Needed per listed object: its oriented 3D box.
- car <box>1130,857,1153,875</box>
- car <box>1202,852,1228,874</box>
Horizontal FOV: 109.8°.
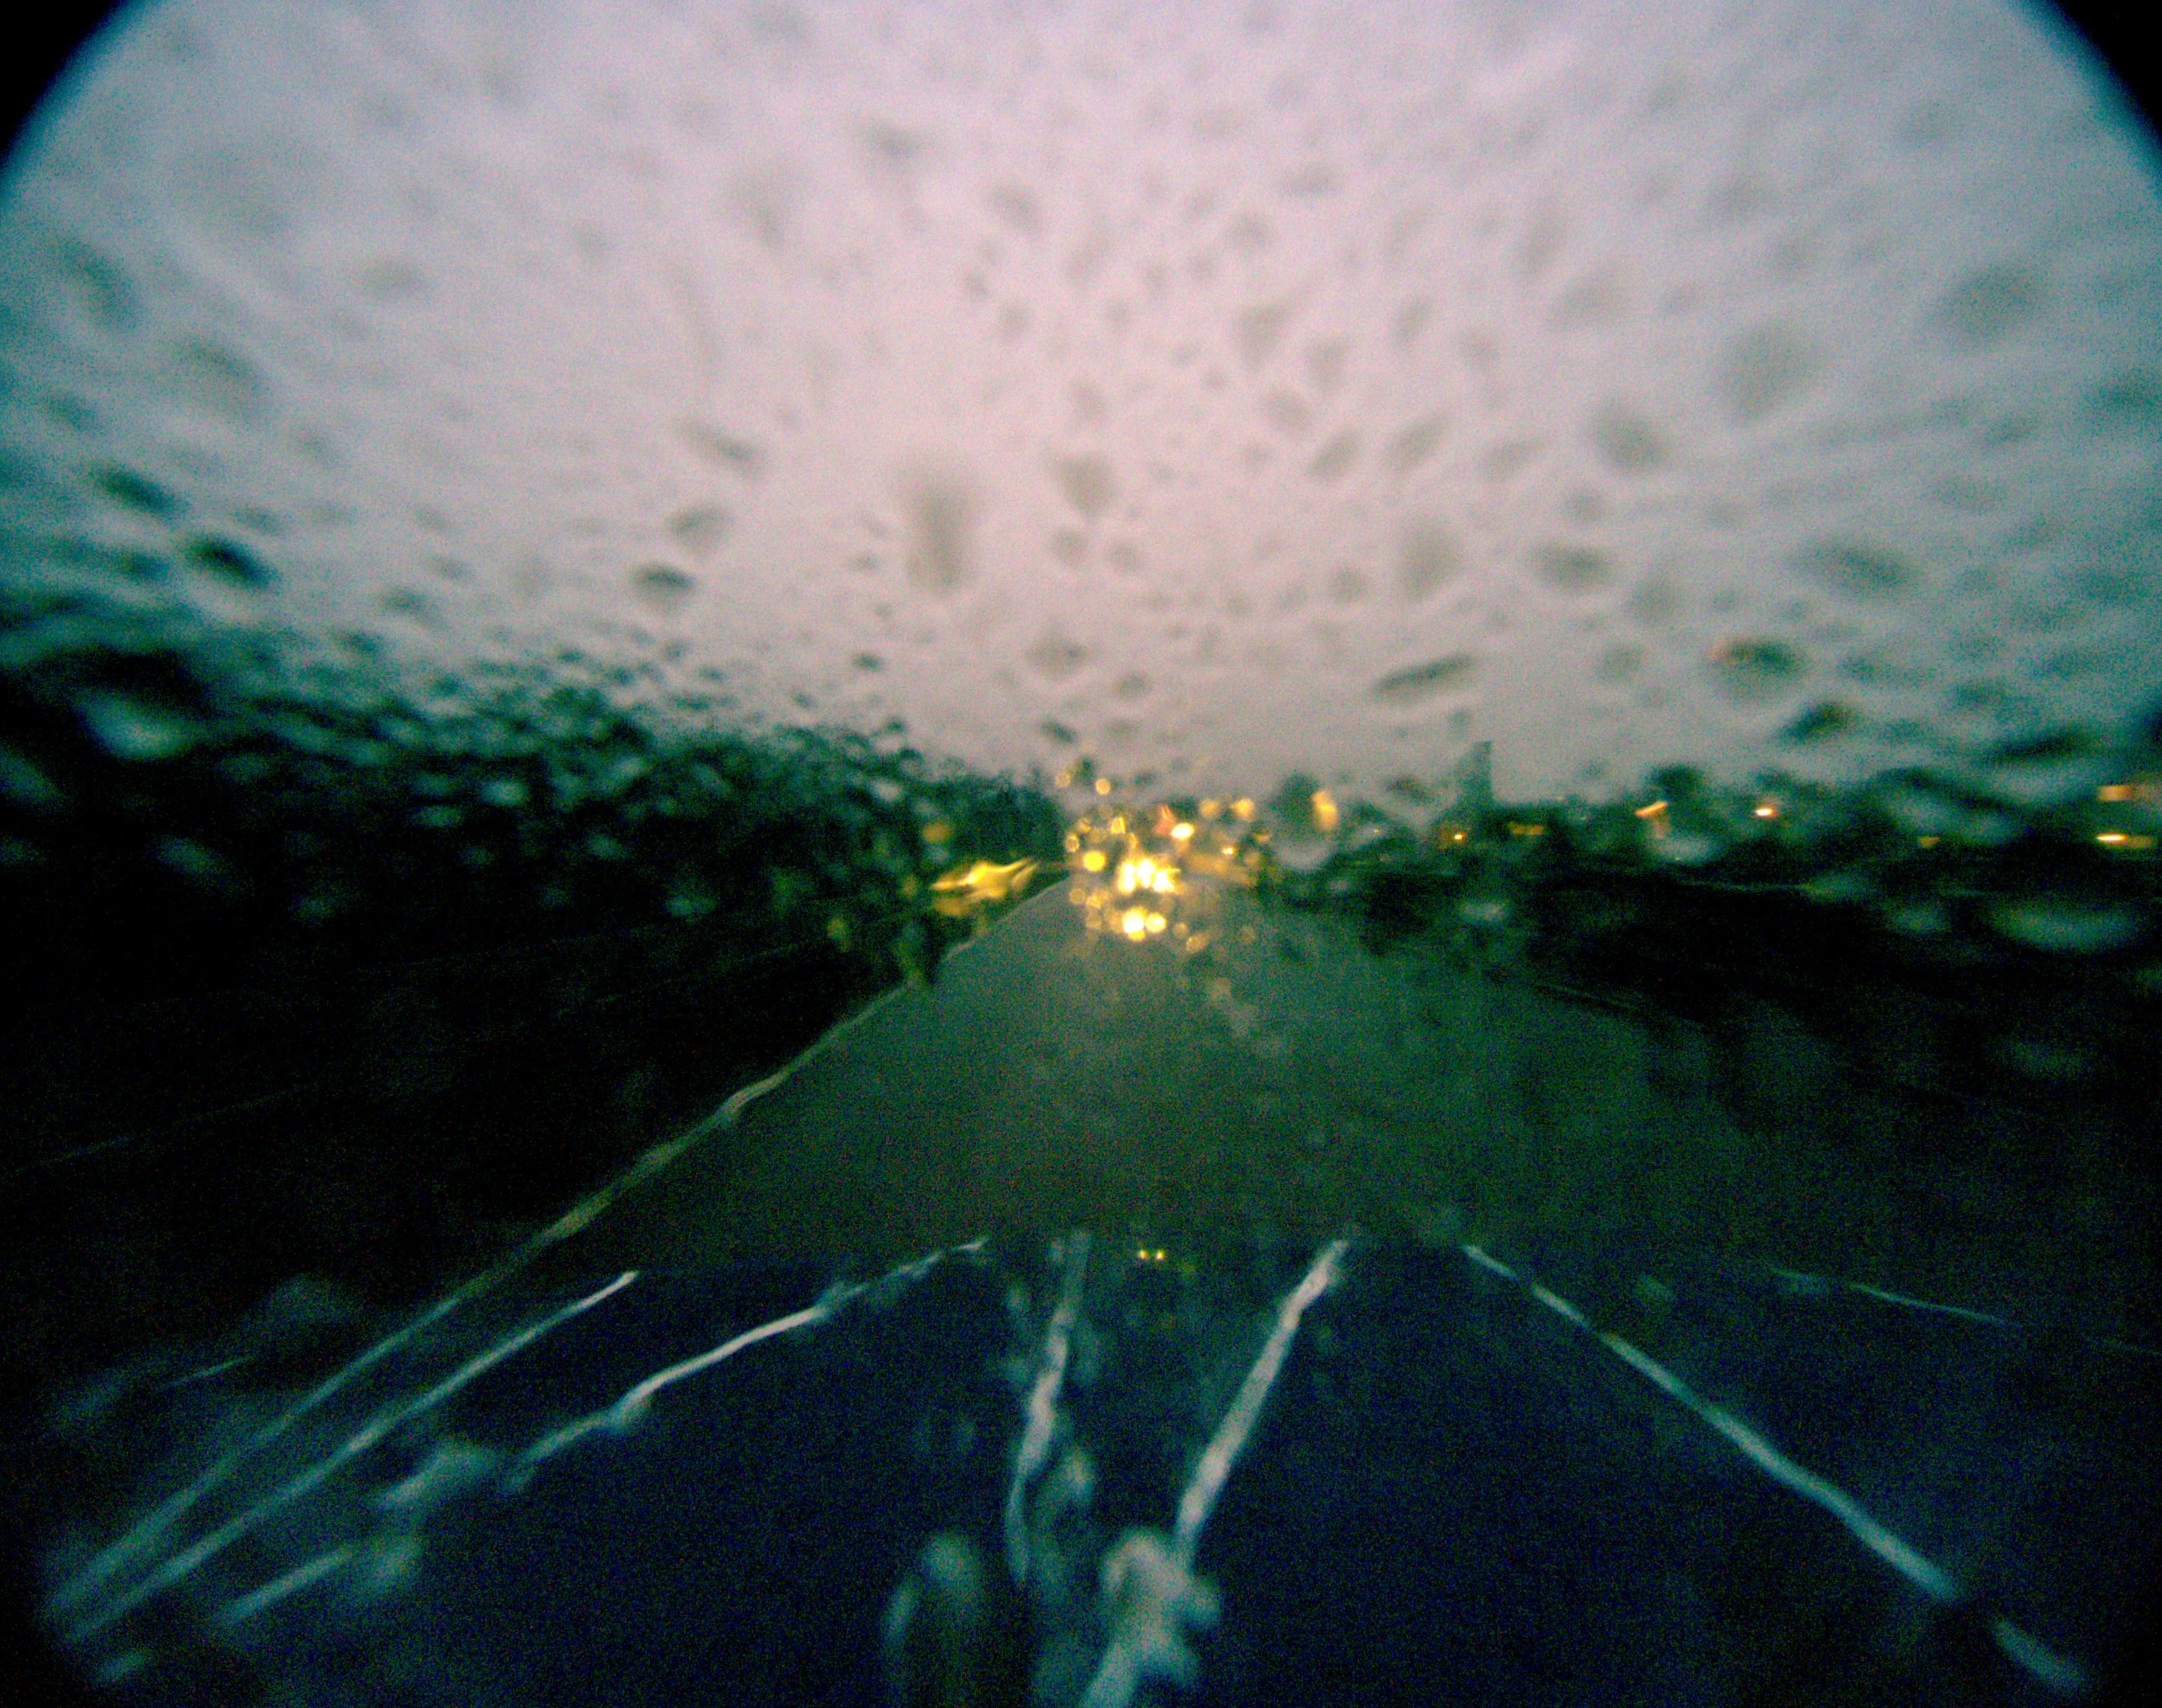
[{"bbox_3d":[5.504,1.098,68.740,1.886,1.514,4.001,-1,0,6],"label":"car"},{"bbox_3d":[12.333,0.818,69.935,1.998,1.838,3.674,-2,1,5],"label":"car"}]
